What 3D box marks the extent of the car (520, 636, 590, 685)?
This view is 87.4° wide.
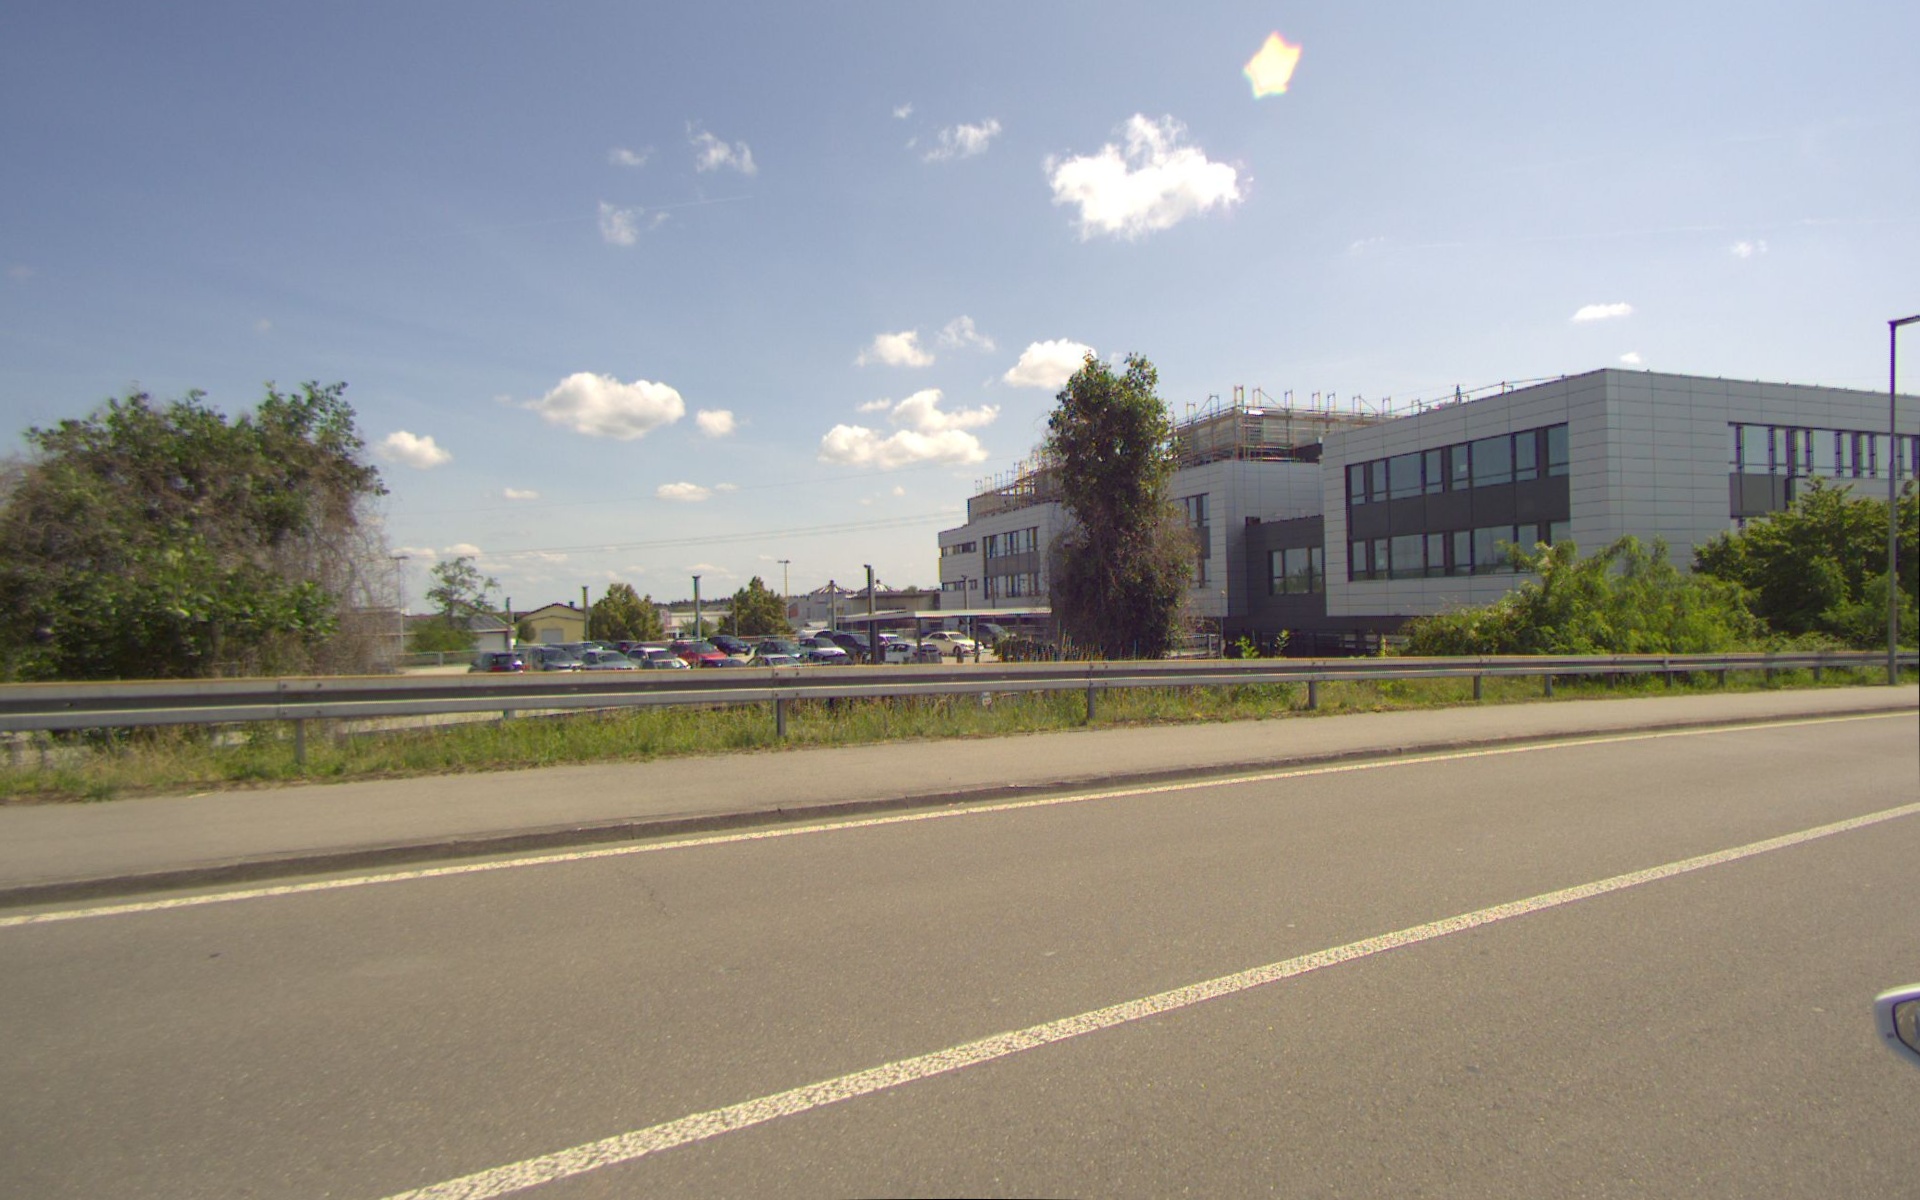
[{"bbox_3d":[-18.659,2.757,46.207,1.982,2.040,3.958,-1,-2,-37],"label":"car"}]

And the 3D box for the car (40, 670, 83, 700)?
[{"bbox_3d":[-51.651,4.875,57.791,1.680,1.409,3.767,-2,1,-40],"label":"car"}]

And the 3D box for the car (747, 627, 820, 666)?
[{"bbox_3d":[-9.646,2.516,54.729,1.986,1.929,3.948,-2,1,-44],"label":"car"}]

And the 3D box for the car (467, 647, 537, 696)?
[{"bbox_3d":[-20.342,3.117,44.552,1.982,2.040,3.958,1,-3,-37],"label":"car"}]

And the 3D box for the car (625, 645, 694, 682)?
[{"bbox_3d":[-14.767,3.081,49.258,1.982,1.706,3.958,2,-3,-37],"label":"car"}]

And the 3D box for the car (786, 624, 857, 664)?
[{"bbox_3d":[-7.839,2.431,56.479,1.986,2.040,3.948,-2,1,-44],"label":"car"}]

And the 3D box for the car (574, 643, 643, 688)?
[{"bbox_3d":[-16.682,3.068,47.578,1.982,2.040,3.958,1,-3,-37],"label":"car"}]

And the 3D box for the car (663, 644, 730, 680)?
[{"bbox_3d":[-13.403,3.130,50.986,1.982,1.731,3.958,2,-3,-37],"label":"car"}]

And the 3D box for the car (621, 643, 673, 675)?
[{"bbox_3d":[-21.131,3.951,67.728,3.945,2.040,1.685,-2,-3,44],"label":"car"}]

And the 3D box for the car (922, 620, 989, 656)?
[{"bbox_3d":[-0.291,2.342,62.872,1.986,2.040,3.948,-2,1,-44],"label":"car"}]

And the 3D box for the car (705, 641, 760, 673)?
[{"bbox_3d":[-15.768,3.937,69.638,1.986,2.040,3.949,1,-1,-43],"label":"car"}]

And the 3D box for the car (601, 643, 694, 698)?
[{"bbox_3d":[-12.325,2.712,39.507,1.946,1.895,3.950,-2,1,-43],"label":"car"}]

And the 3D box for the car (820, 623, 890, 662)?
[{"bbox_3d":[-6.075,2.424,58.014,1.986,2.040,3.948,-2,1,-44],"label":"car"}]

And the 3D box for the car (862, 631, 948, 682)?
[{"bbox_3d":[-2.604,2.580,46.867,1.946,2.041,3.949,-2,2,-43],"label":"car"}]

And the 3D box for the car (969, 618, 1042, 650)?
[{"bbox_3d":[3.131,2.349,69.906,1.986,2.040,5.020,-2,1,-44],"label":"car"}]

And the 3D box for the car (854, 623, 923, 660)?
[{"bbox_3d":[-4.252,2.418,59.600,1.986,2.040,3.948,-2,1,-44],"label":"car"}]
